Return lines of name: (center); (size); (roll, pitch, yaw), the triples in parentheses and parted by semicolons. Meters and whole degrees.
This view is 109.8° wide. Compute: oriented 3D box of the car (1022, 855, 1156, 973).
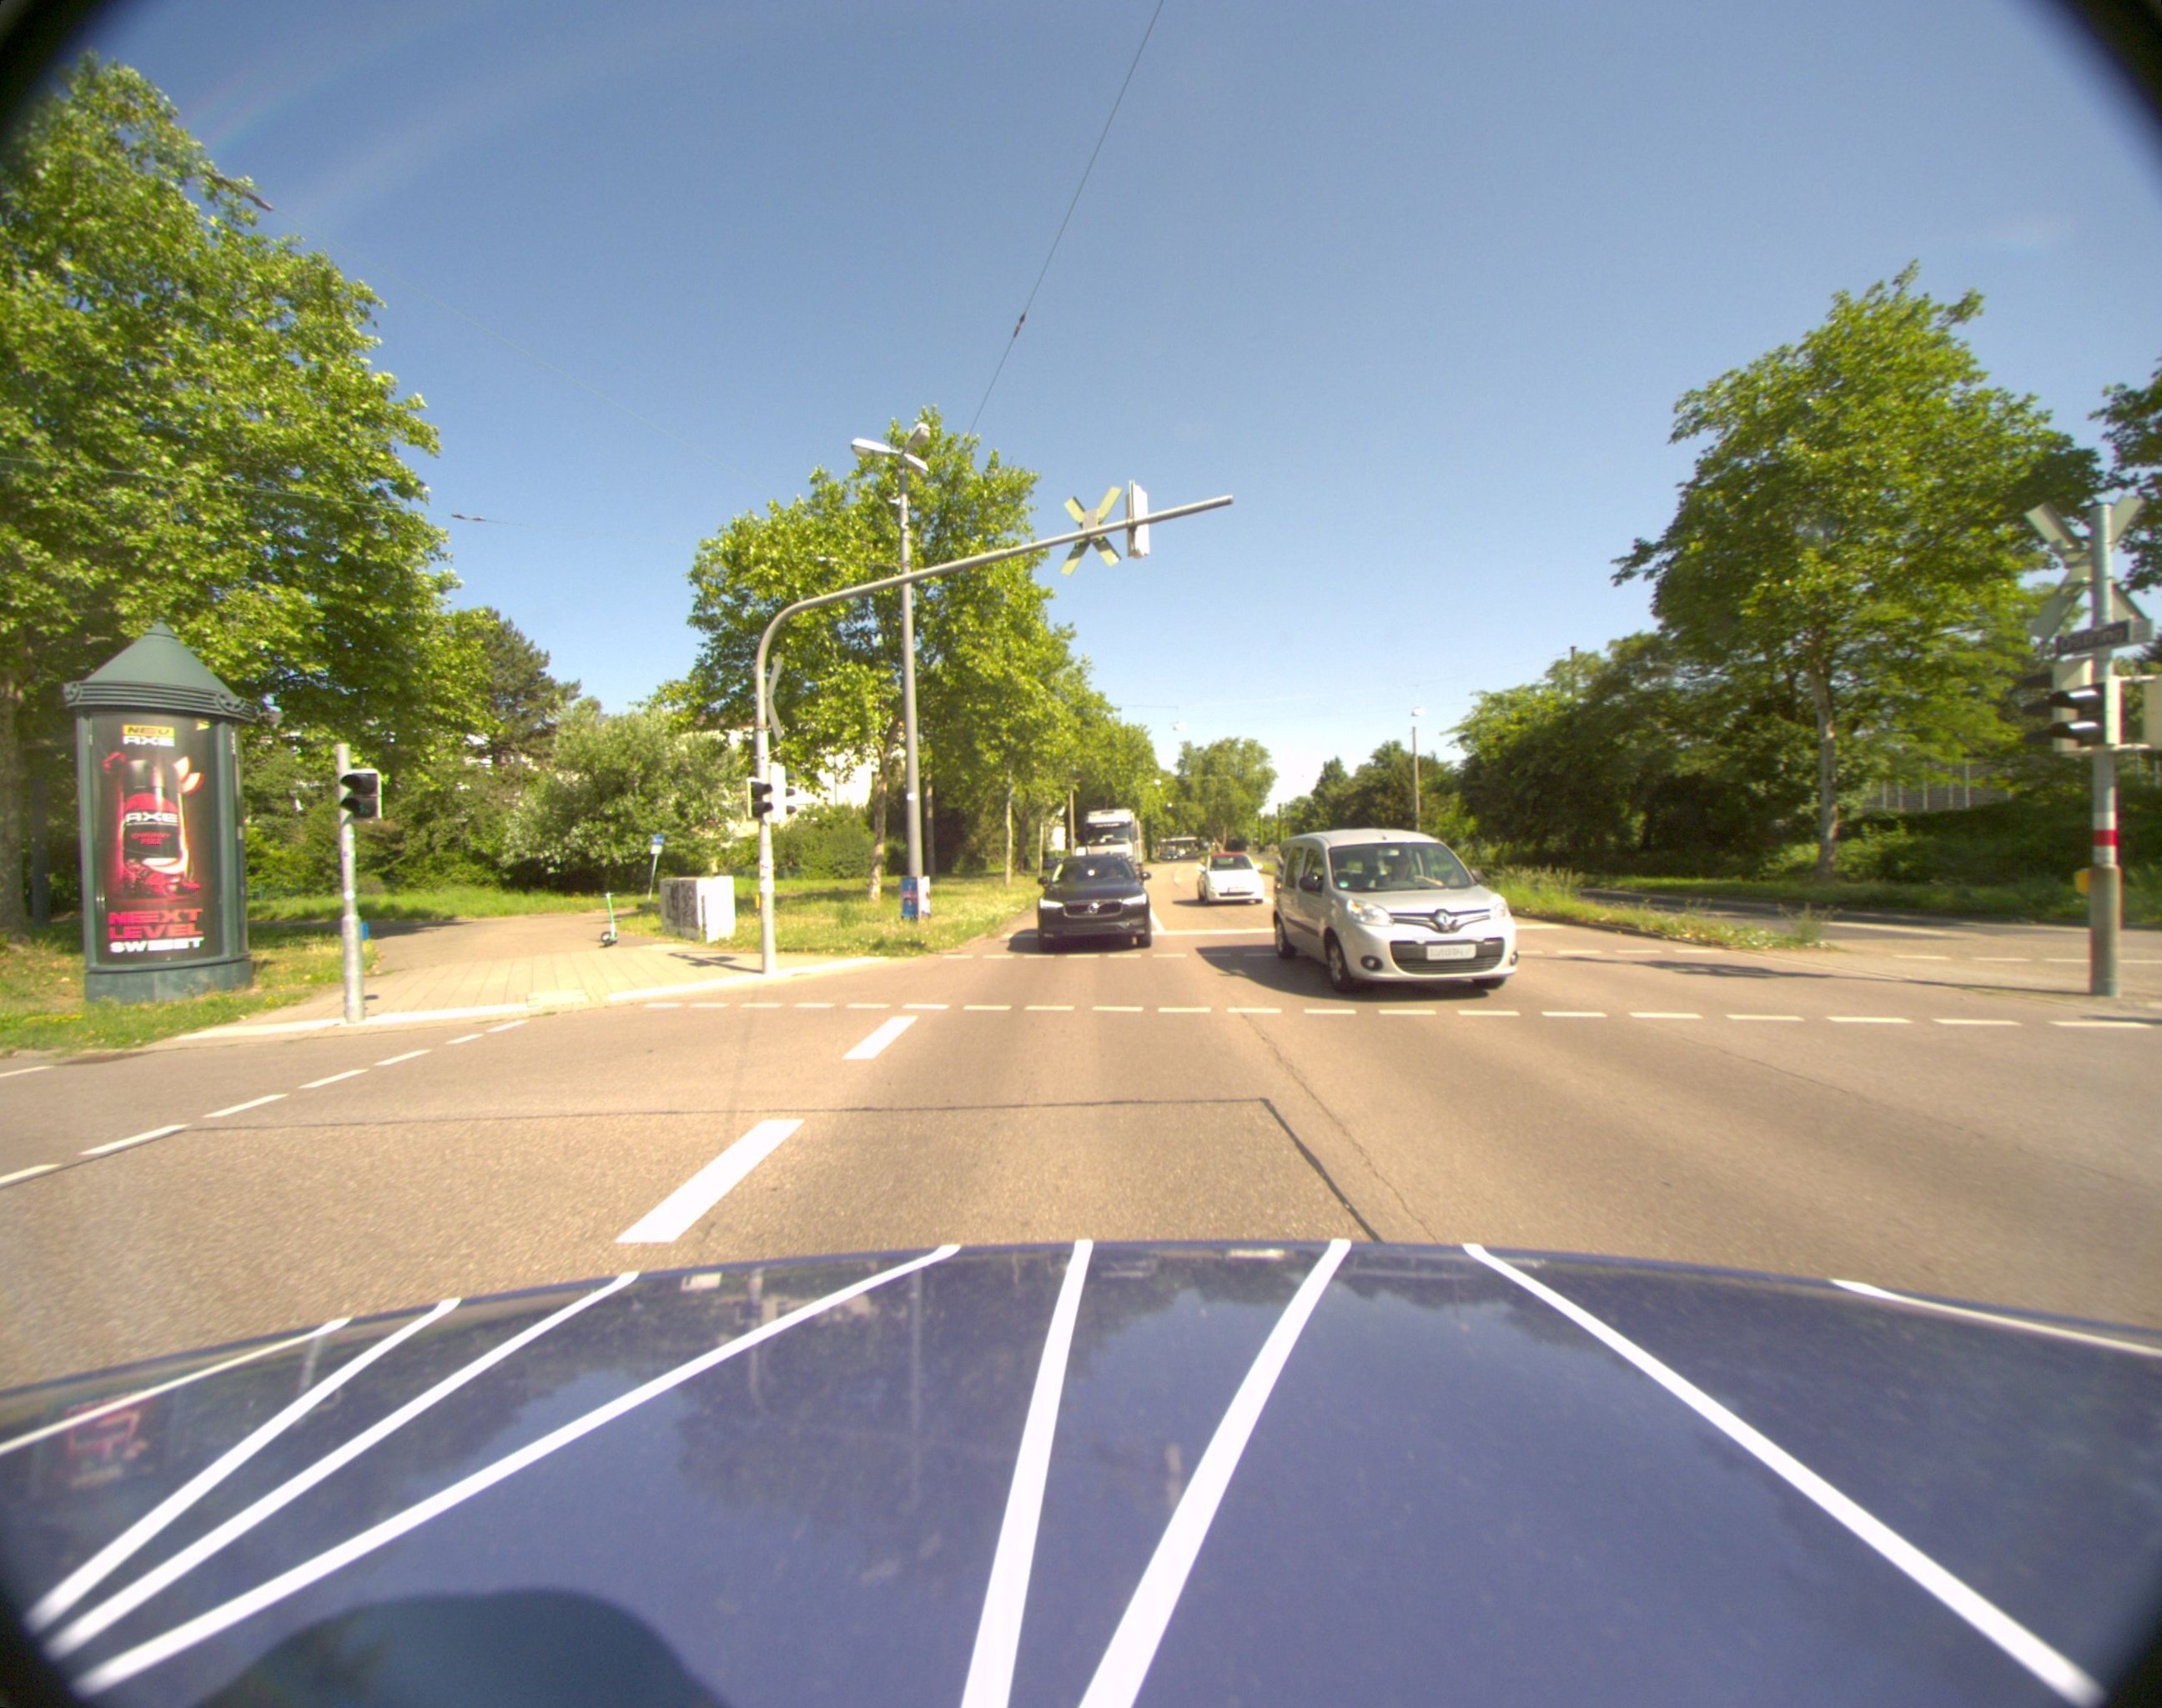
car: (0.240, 0.893, 13.645); (1.904, 1.606, 4.873); (-3, 0, 3)

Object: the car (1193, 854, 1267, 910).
car: (4.459, 0.788, 23.297); (1.688, 1.482, 4.376); (-2, 0, 4)

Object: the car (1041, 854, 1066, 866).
car: (-3.243, 0.683, 90.024); (1.504, 1.364, 4.094); (-2, 0, 19)

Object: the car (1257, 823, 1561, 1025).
car: (3.584, 0.652, 9.318); (1.877, 1.829, 4.375); (-2, 0, 2)

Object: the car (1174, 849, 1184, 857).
car: (25.236, -0.195, 196.142); (1.996, 2.002, 4.004); (-2, 0, 15)

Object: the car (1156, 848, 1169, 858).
car: (17.564, -0.133, 163.355); (1.996, 2.002, 4.005); (-2, 0, 19)

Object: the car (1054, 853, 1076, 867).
car: (-1.984, 0.746, 95.417); (1.504, 1.633, 4.094); (-2, 0, 19)

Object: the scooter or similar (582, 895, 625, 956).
scooter or similar: (-10.318, 1.517, 16.450); (0.517, 1.135, 1.443); (-4, 2, -24)

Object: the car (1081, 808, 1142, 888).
car: (1.755, -0.322, 41.054); (2.902, 3.898, 7.143); (-1, 0, 4)
